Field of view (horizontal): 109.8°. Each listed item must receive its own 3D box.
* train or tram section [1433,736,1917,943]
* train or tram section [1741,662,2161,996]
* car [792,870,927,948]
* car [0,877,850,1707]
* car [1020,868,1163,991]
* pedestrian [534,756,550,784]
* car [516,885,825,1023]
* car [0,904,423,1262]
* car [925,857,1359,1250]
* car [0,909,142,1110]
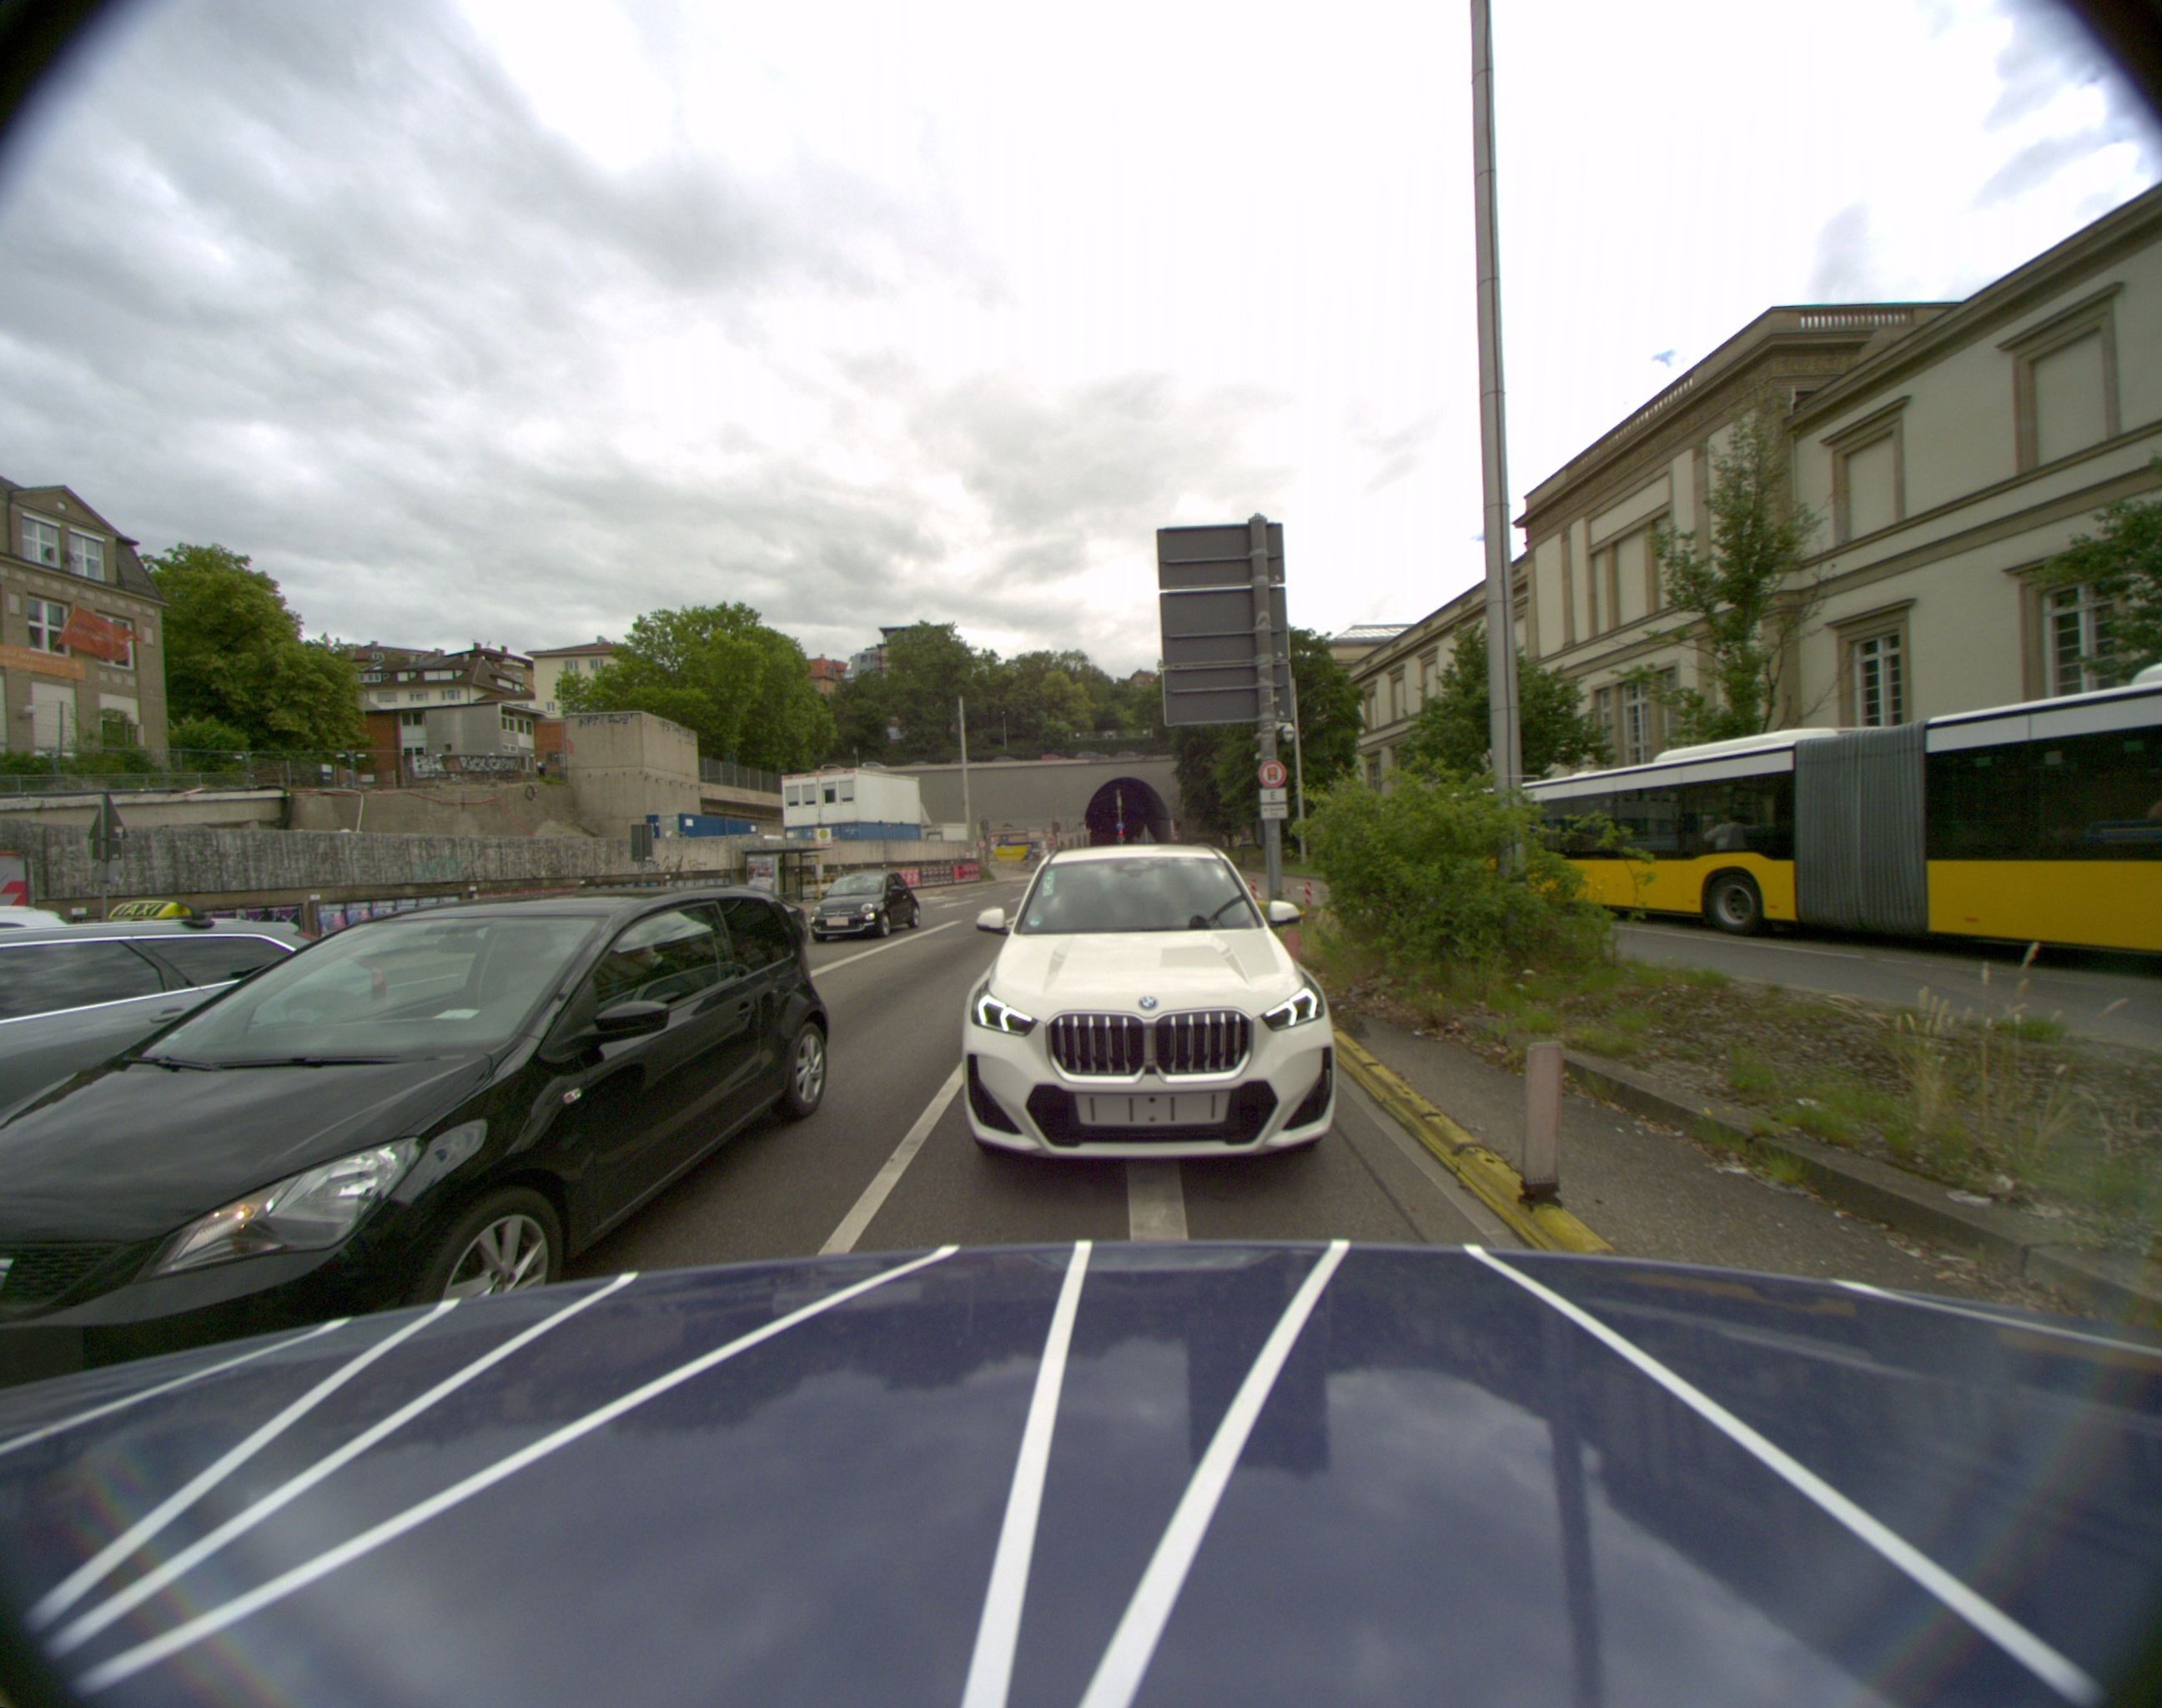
[{"bbox_3d":[11.087,-0.218,16.065,2.701,3.053,9.375,-1,0,-1],"label":"train or tram section"},{"bbox_3d":[11.245,-0.248,6.719,2.700,3.053,9.336,-1,0,0],"label":"train or tram section"},{"bbox_3d":[-4.967,1.187,17.576,1.720,1.450,3.782,-3,0,4],"label":"car"},{"bbox_3d":[-2.532,0.986,3.287,1.661,1.547,3.911,-2,1,3],"label":"car"},{"bbox_3d":[0.218,0.999,11.611,1.756,1.427,3.911,-2,0,3],"label":"car"},{"bbox_3d":[-36.627,-5.691,51.614,0.554,1.784,0.569,-2,1,1],"label":"pedestrian"},{"bbox_3d":[-5.402,1.234,10.773,1.826,1.356,4.219,-2,0,4],"label":"car"},{"bbox_3d":[-5.827,1.150,3.467,1.826,1.457,4.217,-2,1,2],"label":"car"},{"bbox_3d":[0.336,0.855,5.135,1.756,1.547,3.911,-2,1,3],"label":"car"},{"bbox_3d":[-9.153,1.265,4.591,1.826,1.457,4.073,-2,1,0],"label":"car"}]
